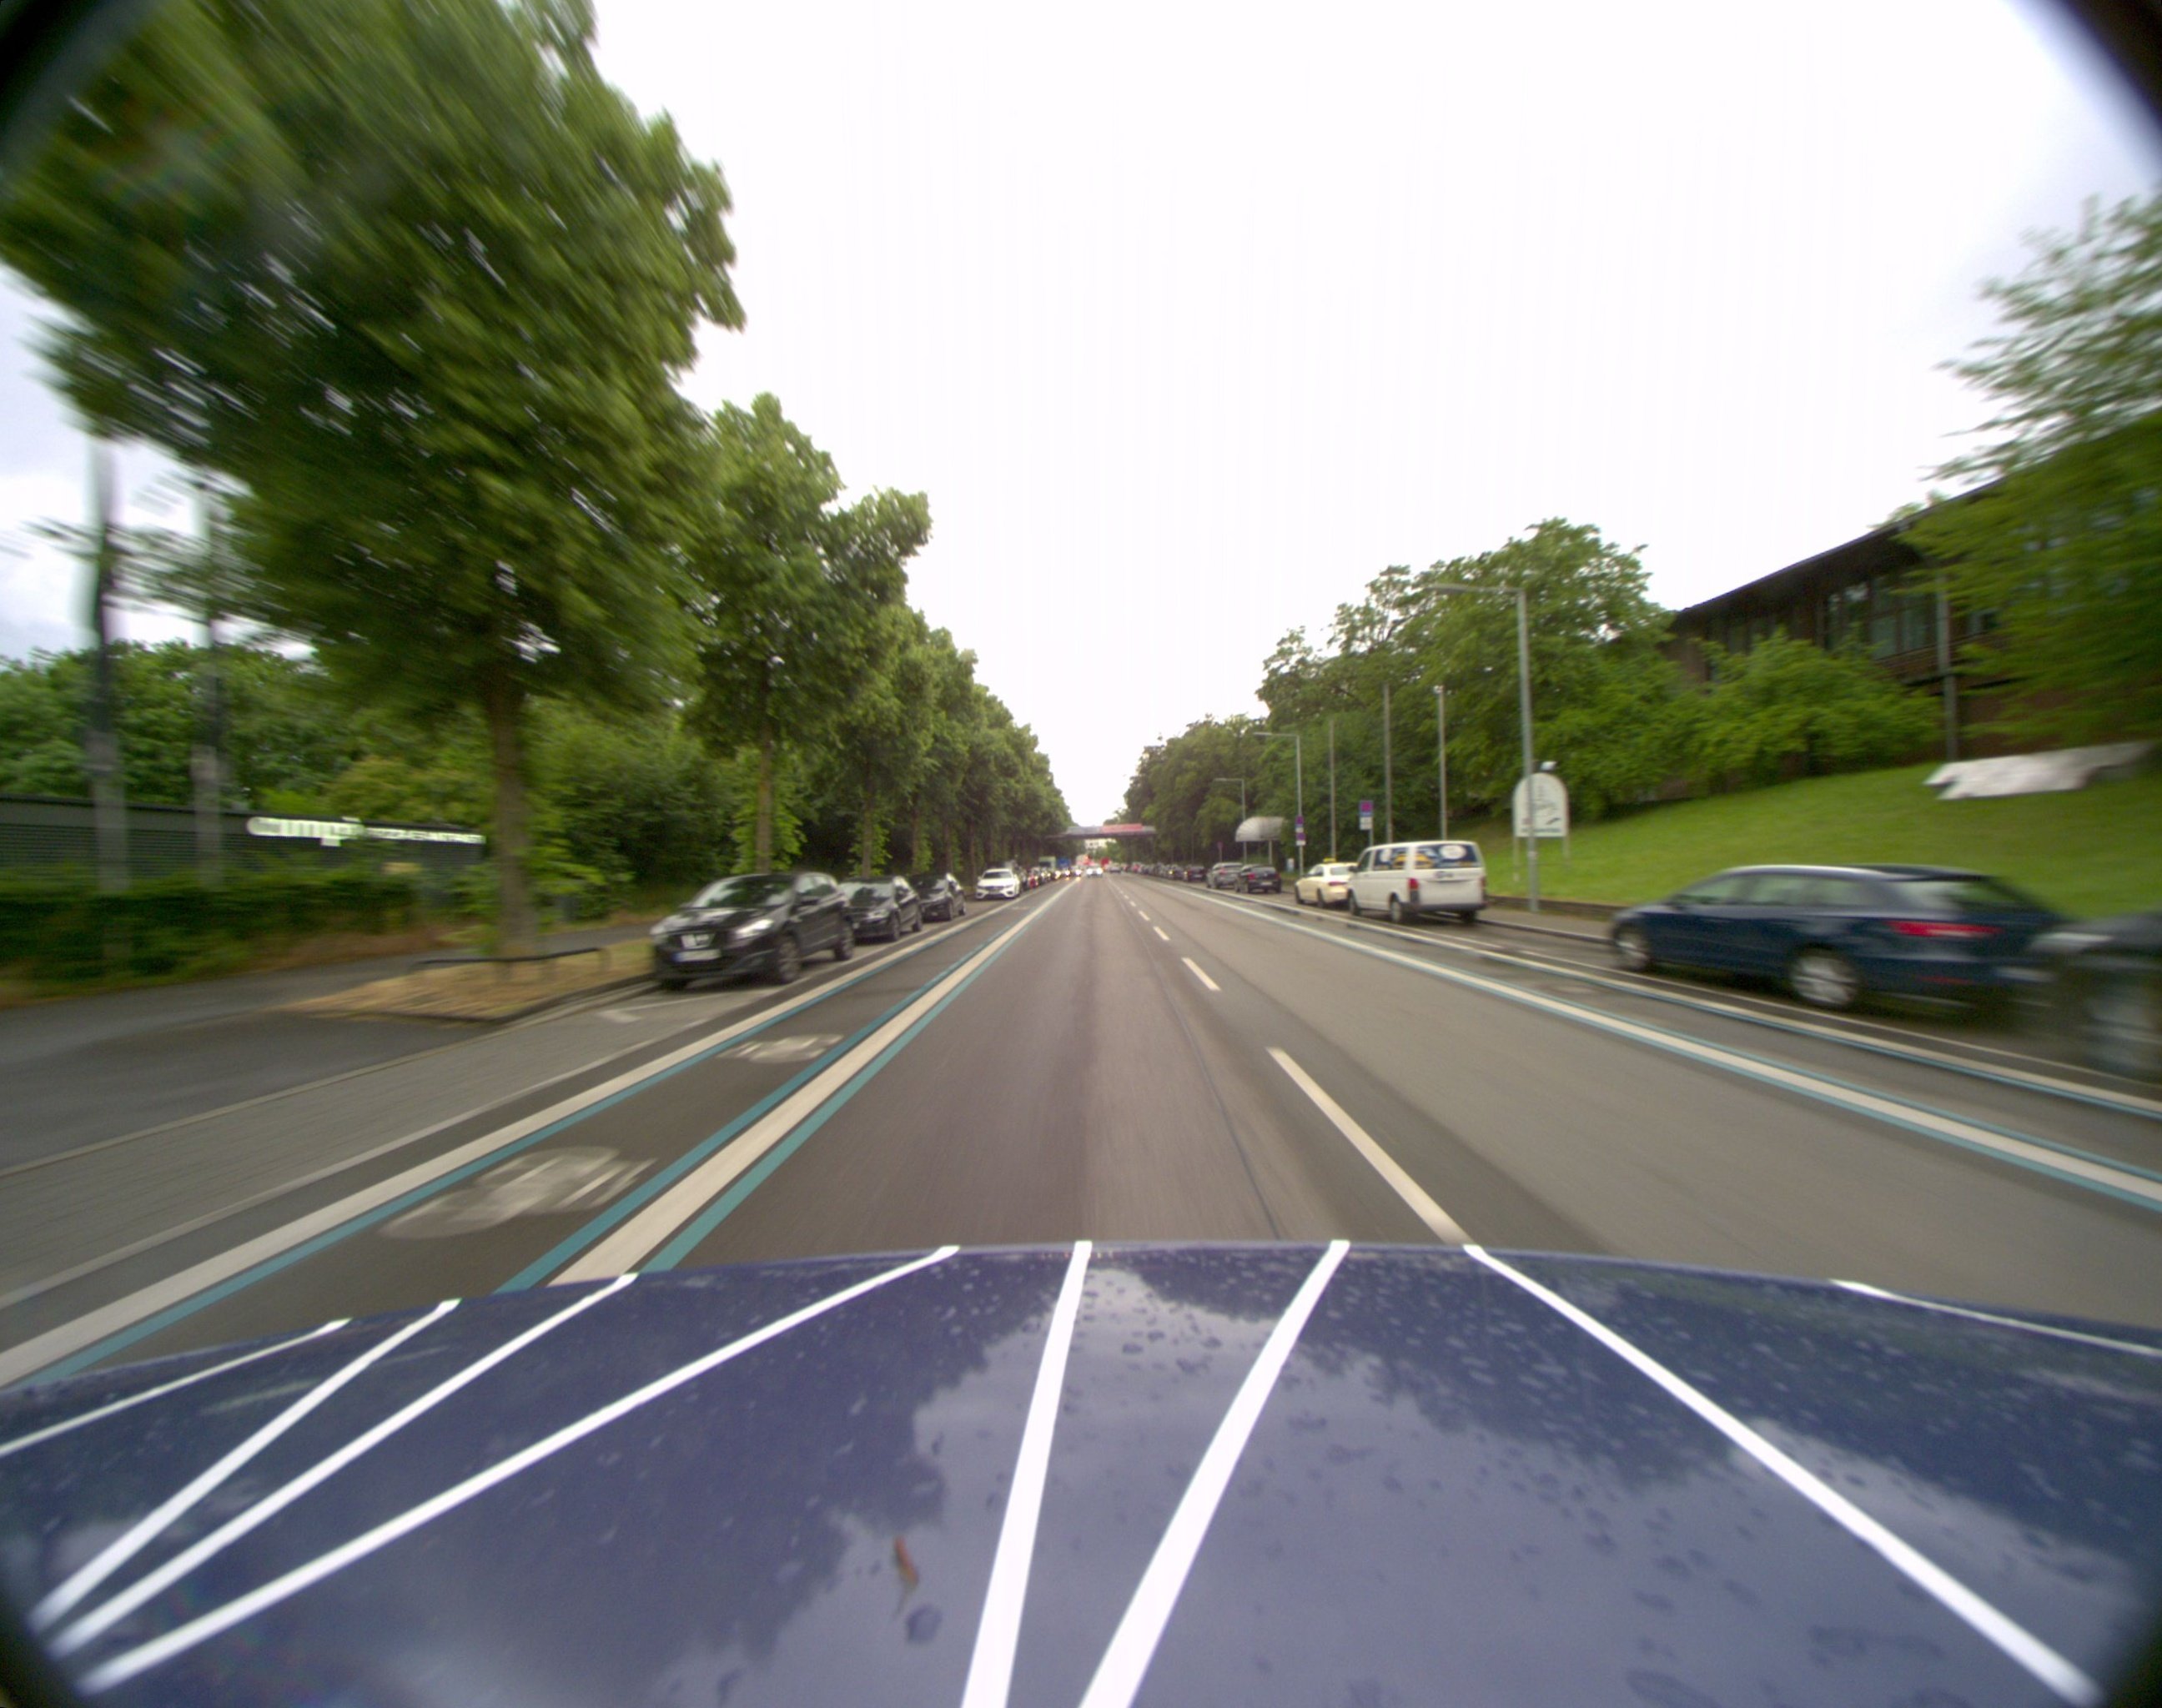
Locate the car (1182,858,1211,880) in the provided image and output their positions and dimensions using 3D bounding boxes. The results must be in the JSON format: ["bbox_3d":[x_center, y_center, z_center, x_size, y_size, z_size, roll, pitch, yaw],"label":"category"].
[{"bbox_3d":[9.435,1.258,62.483,1.822,1.755,4.001,-1,-1,1],"label":"car"}]

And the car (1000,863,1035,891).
[{"bbox_3d":[-4.024,1.451,48.916,1.739,1.546,4.189,-3,0,1],"label":"car"}]

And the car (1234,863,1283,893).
[{"bbox_3d":[8.726,1.172,37.627,1.680,1.363,3.586,-1,0,1],"label":"car"}]

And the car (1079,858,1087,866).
[{"bbox_3d":[0.631,2.432,235.528,2.326,2.343,5.003,-1,0,1],"label":"car"}]

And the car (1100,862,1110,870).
[{"bbox_3d":[4.982,2.512,157.163,1.822,1.586,3.744,-1,-1,-1],"label":"car"}]

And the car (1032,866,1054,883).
[{"bbox_3d":[-3.304,1.785,66.754,1.581,1.381,3.671,-3,0,1],"label":"car"}]

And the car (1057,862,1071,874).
[{"bbox_3d":[-2.311,1.938,106.643,1.733,1.578,3.671,-3,0,1],"label":"car"}]

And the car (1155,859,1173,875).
[{"bbox_3d":[9.977,1.542,91.264,1.822,1.848,3.744,-1,-1,1],"label":"car"}]

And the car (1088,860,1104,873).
[{"bbox_3d":[1.831,1.464,90.843,1.828,1.453,3.882,-3,0,1],"label":"car"}]

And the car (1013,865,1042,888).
[{"bbox_3d":[-3.745,1.549,53.663,1.581,1.381,4.189,-3,0,1],"label":"car"}]

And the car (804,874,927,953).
[{"bbox_3d":[-4.754,1.259,17.334,1.694,1.418,3.999,-2,0,-1],"label":"car"}]

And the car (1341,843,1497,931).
[{"bbox_3d":[8.405,0.758,19.436,1.877,1.965,4.735,-1,0,0],"label":"car"}]

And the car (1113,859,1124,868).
[{"bbox_3d":[6.636,1.658,134.343,1.828,1.453,3.883,-3,-2,1],"label":"car"}]

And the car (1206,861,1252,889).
[{"bbox_3d":[8.555,1.186,44.271,1.795,1.459,4.328,-1,0,-1],"label":"car"}]

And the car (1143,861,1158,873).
[{"bbox_3d":[10.133,1.932,111.578,1.822,1.732,3.744,-1,-1,0],"label":"car"}]

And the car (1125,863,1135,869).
[{"bbox_3d":[10.298,2.470,159.613,1.870,1.280,3.999,-1,0,-2],"label":"car"}]

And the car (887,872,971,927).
[{"bbox_3d":[-4.571,1.339,23.396,1.689,1.374,4.083,-2,0,0],"label":"car"}]

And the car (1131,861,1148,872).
[{"bbox_3d":[9.329,1.953,122.072,1.824,1.732,3.740,0,-1,-11],"label":"car"}]

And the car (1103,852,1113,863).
[{"bbox_3d":[8.998,1.210,253.153,3.330,3.696,6.592,-1,0,1],"label":"car"}]

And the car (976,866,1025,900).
[{"bbox_3d":[-3.898,1.383,37.438,1.824,1.477,4.292,-2,0,1],"label":"car"}]

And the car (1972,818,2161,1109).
[{"bbox_3d":[7.999,0.711,3.441,1.881,1.909,5.204,0,0,1],"label":"car"}]

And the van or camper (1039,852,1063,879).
[{"bbox_3d":[-3.182,1.183,82.026,2.129,2.694,6.847,-3,0,1],"label":"van or camper"}]

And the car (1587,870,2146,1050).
[{"bbox_3d":[8.225,0.955,8.772,1.688,1.450,4.611,0,0,0],"label":"car"}]

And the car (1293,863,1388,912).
[{"bbox_3d":[8.537,1.054,25.447,1.731,1.439,4.595,-1,0,2],"label":"car"}]

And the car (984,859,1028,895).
[{"bbox_3d":[-4.172,1.225,42.994,1.847,1.865,4.616,-2,0,1],"label":"car"}]

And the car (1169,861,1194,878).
[{"bbox_3d":[9.399,1.453,71.598,1.822,1.533,4.544,-1,-1,1],"label":"car"}]

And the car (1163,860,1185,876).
[{"bbox_3d":[9.680,1.478,79.106,1.822,1.560,4.235,-1,-1,1],"label":"car"}]

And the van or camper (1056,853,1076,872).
[{"bbox_3d":[-2.176,1.196,112.940,2.642,2.618,5.743,-2,0,1],"label":"van or camper"}]

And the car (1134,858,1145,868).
[{"bbox_3d":[11.394,1.800,147.654,1.822,1.940,3.744,-1,-1,-1],"label":"car"}]

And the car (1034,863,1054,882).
[{"bbox_3d":[-3.494,1.727,72.089,1.581,1.577,3.671,-3,0,1],"label":"car"}]

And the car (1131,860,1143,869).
[{"bbox_3d":[10.267,1.997,138.443,1.822,1.586,3.744,-1,-1,-1],"label":"car"}]

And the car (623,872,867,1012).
[{"bbox_3d":[-4.876,1.168,11.829,1.694,1.562,4.339,-4,0,1],"label":"car"}]

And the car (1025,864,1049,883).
[{"bbox_3d":[-3.495,1.533,61.212,1.581,1.381,4.189,-3,0,1],"label":"car"}]

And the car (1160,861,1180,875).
[{"bbox_3d":[9.955,1.598,85.301,1.822,1.472,4.127,-1,-1,1],"label":"car"}]

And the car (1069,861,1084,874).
[{"bbox_3d":[-0.583,1.757,98.739,1.733,1.578,3.671,-3,0,1],"label":"car"}]

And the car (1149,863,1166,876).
[{"bbox_3d":[9.685,1.971,96.823,1.822,1.603,3.744,-1,-1,1],"label":"car"}]
